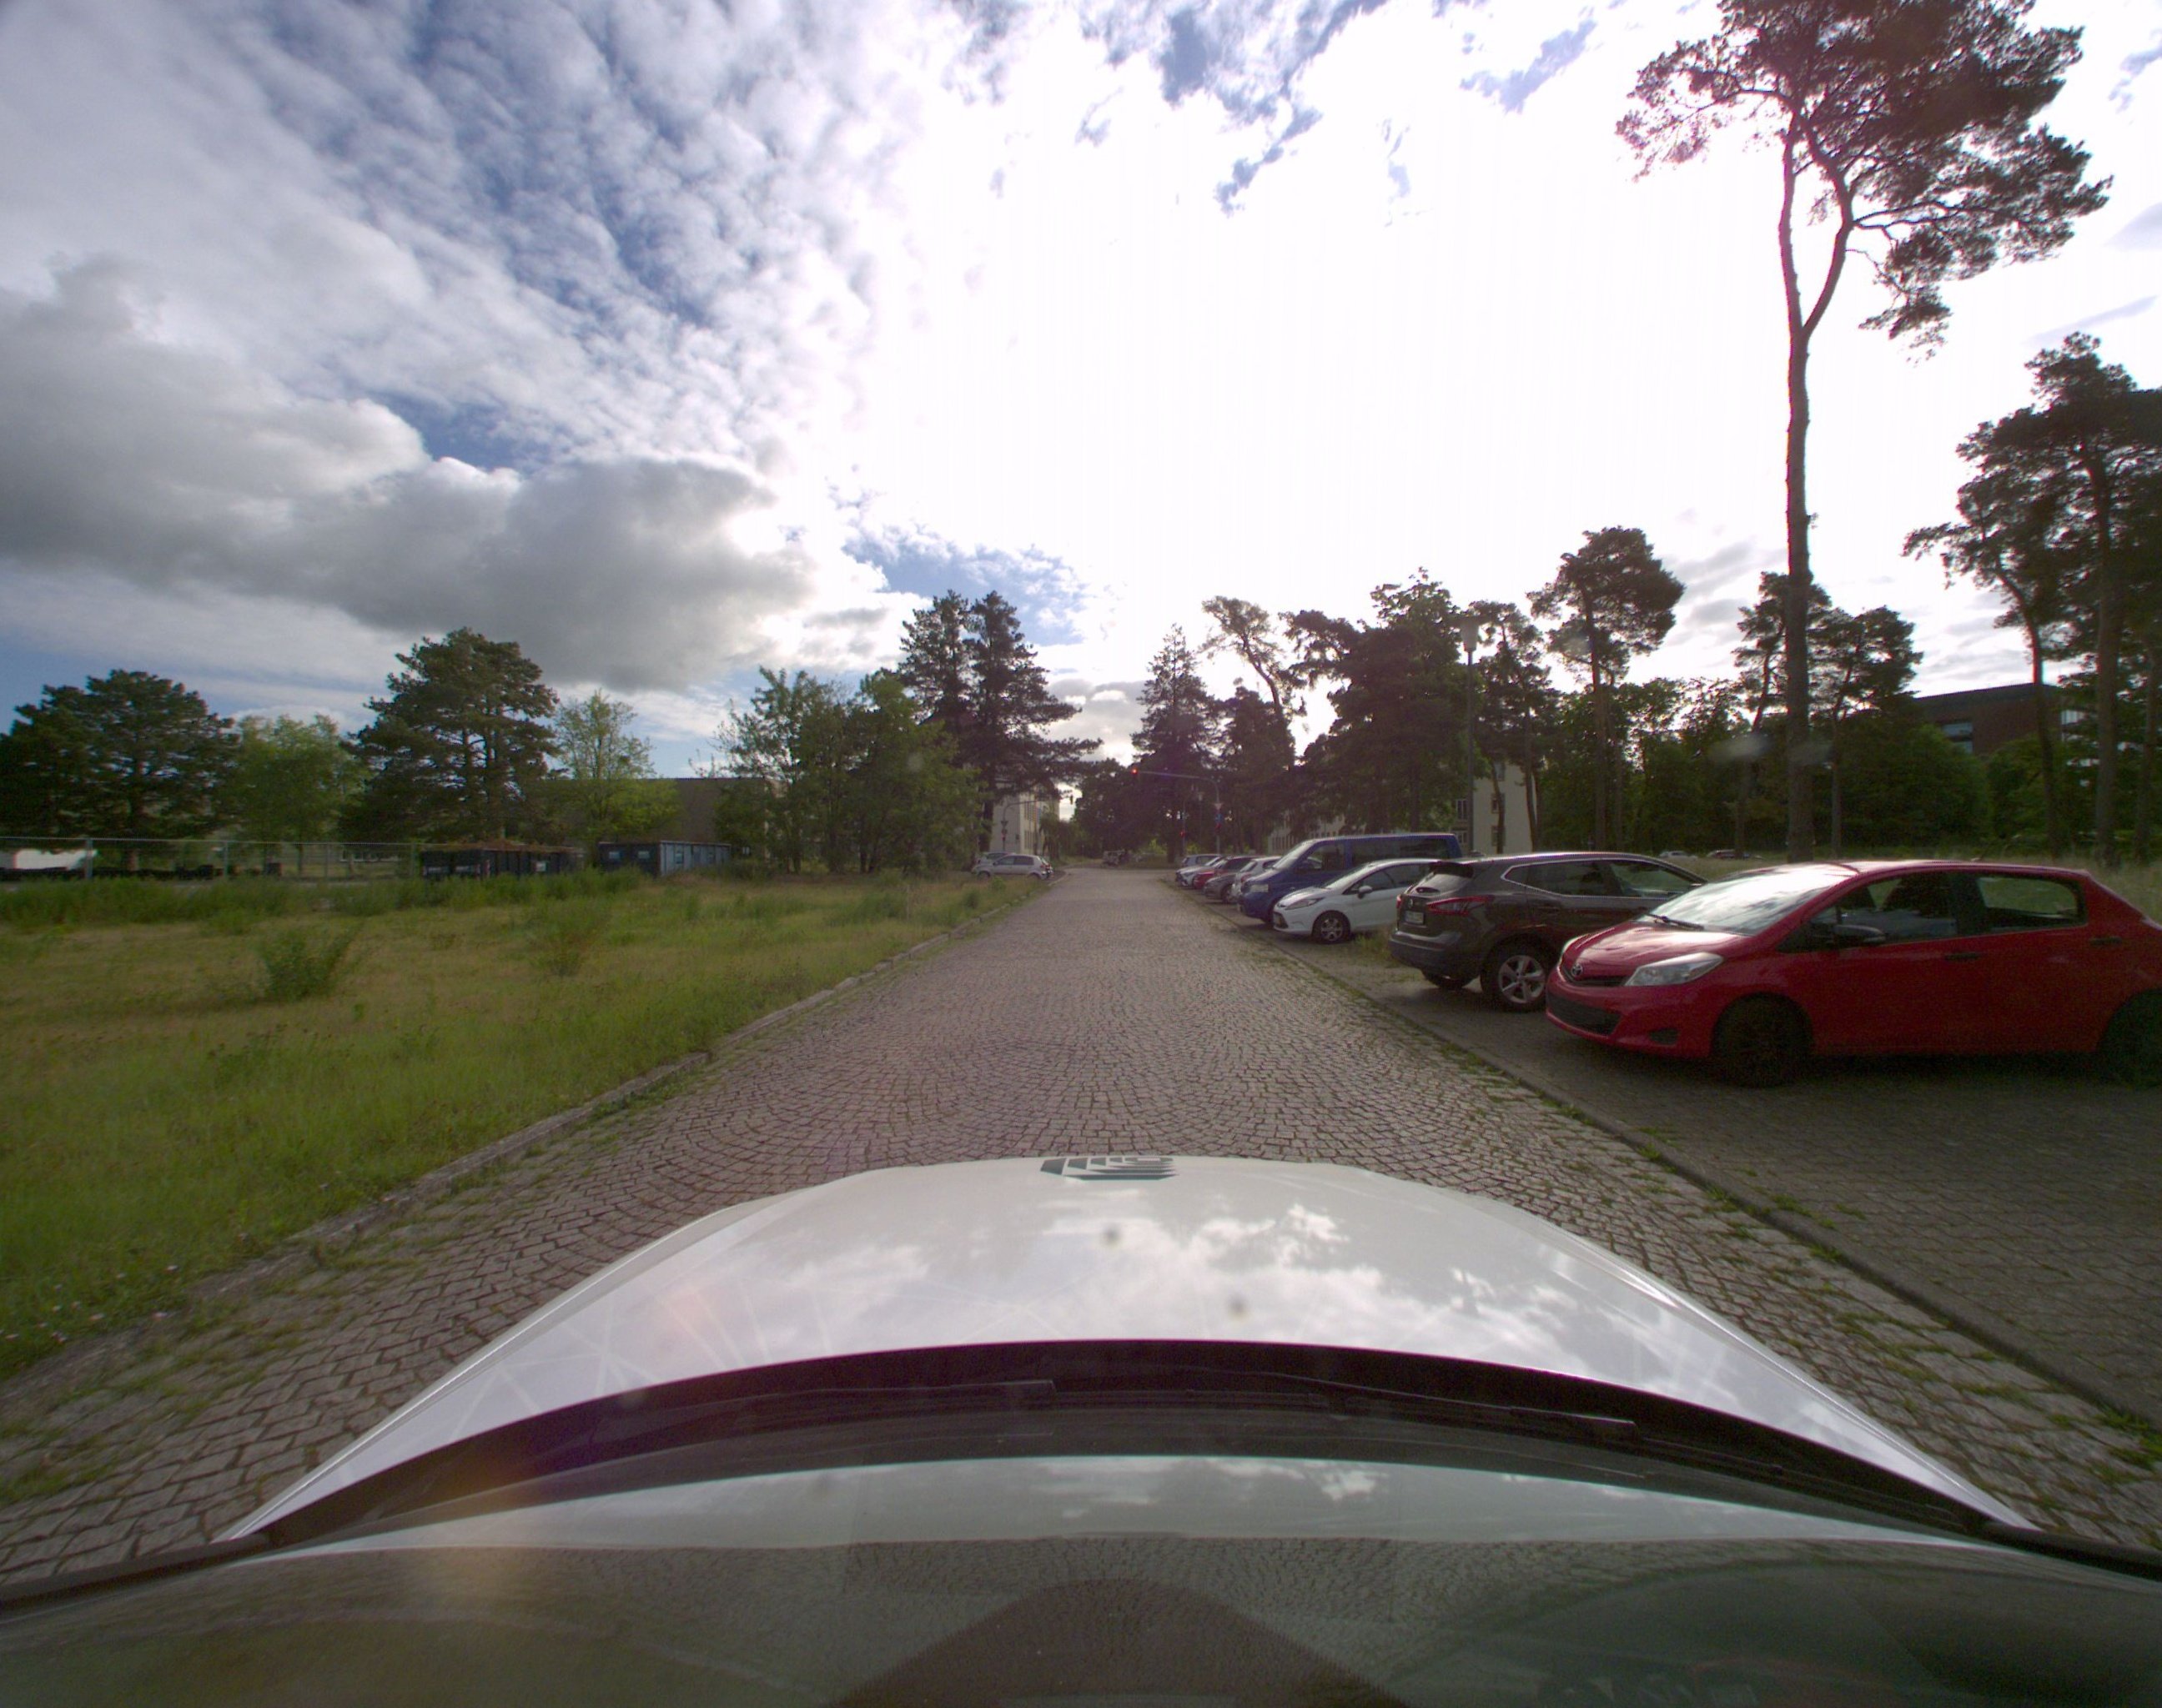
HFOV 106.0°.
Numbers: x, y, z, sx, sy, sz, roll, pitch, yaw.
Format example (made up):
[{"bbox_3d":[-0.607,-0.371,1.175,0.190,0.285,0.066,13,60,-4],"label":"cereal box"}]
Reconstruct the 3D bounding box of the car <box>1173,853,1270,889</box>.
[{"bbox_3d":[6.227,0.733,36.249,3.979,1.543,1.662,-1,0,-4],"label":"car"}]

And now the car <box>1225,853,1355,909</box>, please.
[{"bbox_3d":[5.875,0.739,23.139,3.282,1.504,1.664,-1,0,-1],"label":"car"}]

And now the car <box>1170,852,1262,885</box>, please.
[{"bbox_3d":[6.429,0.673,38.992,4.114,1.543,1.662,-1,0,-4],"label":"car"}]

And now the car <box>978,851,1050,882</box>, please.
[{"bbox_3d":[-3.815,0.691,46.536,3.981,1.750,1.923,0,0,-5],"label":"car"}]

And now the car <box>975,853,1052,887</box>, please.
[{"bbox_3d":[-3.586,0.844,43.484,3.980,1.706,1.997,-1,0,-5],"label":"car"}]

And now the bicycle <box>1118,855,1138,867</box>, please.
[{"bbox_3d":[5.244,0.775,91.194,2.157,1.268,0.811,0,0,-5],"label":"bicycle"}]

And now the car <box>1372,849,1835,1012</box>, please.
[{"bbox_3d":[5.430,0.743,8.851,3.937,1.580,1.762,0,0,0],"label":"car"}]

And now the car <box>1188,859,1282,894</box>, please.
[{"bbox_3d":[5.954,0.849,31.702,3.286,1.267,1.662,-1,0,-4],"label":"car"}]

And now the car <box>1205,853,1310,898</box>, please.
[{"bbox_3d":[6.233,0.727,28.979,3.291,1.504,1.659,-1,0,-9],"label":"car"}]

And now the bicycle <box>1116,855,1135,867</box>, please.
[{"bbox_3d":[5.053,0.786,92.413,2.157,1.268,0.811,0,0,-5],"label":"bicycle"}]

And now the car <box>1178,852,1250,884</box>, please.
[{"bbox_3d":[6.751,0.694,41.556,3.382,1.543,1.389,-1,0,-4],"label":"car"}]

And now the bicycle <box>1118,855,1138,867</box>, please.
[{"bbox_3d":[5.227,0.769,90.607,2.157,1.268,0.811,0,0,-5],"label":"bicycle"}]

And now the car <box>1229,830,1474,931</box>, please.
[{"bbox_3d":[5.773,0.544,17.737,4.767,2.040,1.738,-1,0,-1],"label":"car"}]

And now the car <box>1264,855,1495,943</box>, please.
[{"bbox_3d":[5.484,0.799,15.271,3.711,1.424,1.654,-2,0,-1],"label":"car"}]

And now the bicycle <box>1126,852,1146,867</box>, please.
[{"bbox_3d":[6.198,0.621,91.882,2.157,1.616,0.811,0,0,-5],"label":"bicycle"}]

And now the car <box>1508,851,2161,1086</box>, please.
[{"bbox_3d":[5.692,0.756,6.217,3.972,1.518,1.739,0,0,1],"label":"car"}]

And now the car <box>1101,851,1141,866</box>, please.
[{"bbox_3d":[5.311,0.563,108.443,5.048,2.013,1.994,0,0,-9],"label":"car"}]

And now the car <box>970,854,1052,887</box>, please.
[{"bbox_3d":[-3.508,0.817,40.992,3.980,1.552,1.997,-1,0,-5],"label":"car"}]

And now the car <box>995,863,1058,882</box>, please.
[{"bbox_3d":[-3.269,1.092,48.788,3.664,1.094,1.644,-1,0,-5],"label":"car"}]

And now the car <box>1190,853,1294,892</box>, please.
[{"bbox_3d":[6.656,0.751,33.935,3.979,1.543,1.662,0,0,-4],"label":"car"}]

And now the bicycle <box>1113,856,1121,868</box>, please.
[{"bbox_3d":[3.839,0.809,86.878,0.806,1.268,1.975,0,0,3],"label":"bicycle"}]

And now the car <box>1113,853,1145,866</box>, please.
[{"bbox_3d":[6.153,0.671,105.142,3.979,1.644,1.997,0,0,-5],"label":"car"}]

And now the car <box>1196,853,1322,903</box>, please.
[{"bbox_3d":[5.657,0.742,26.112,3.597,1.506,1.659,-1,0,-9],"label":"car"}]
